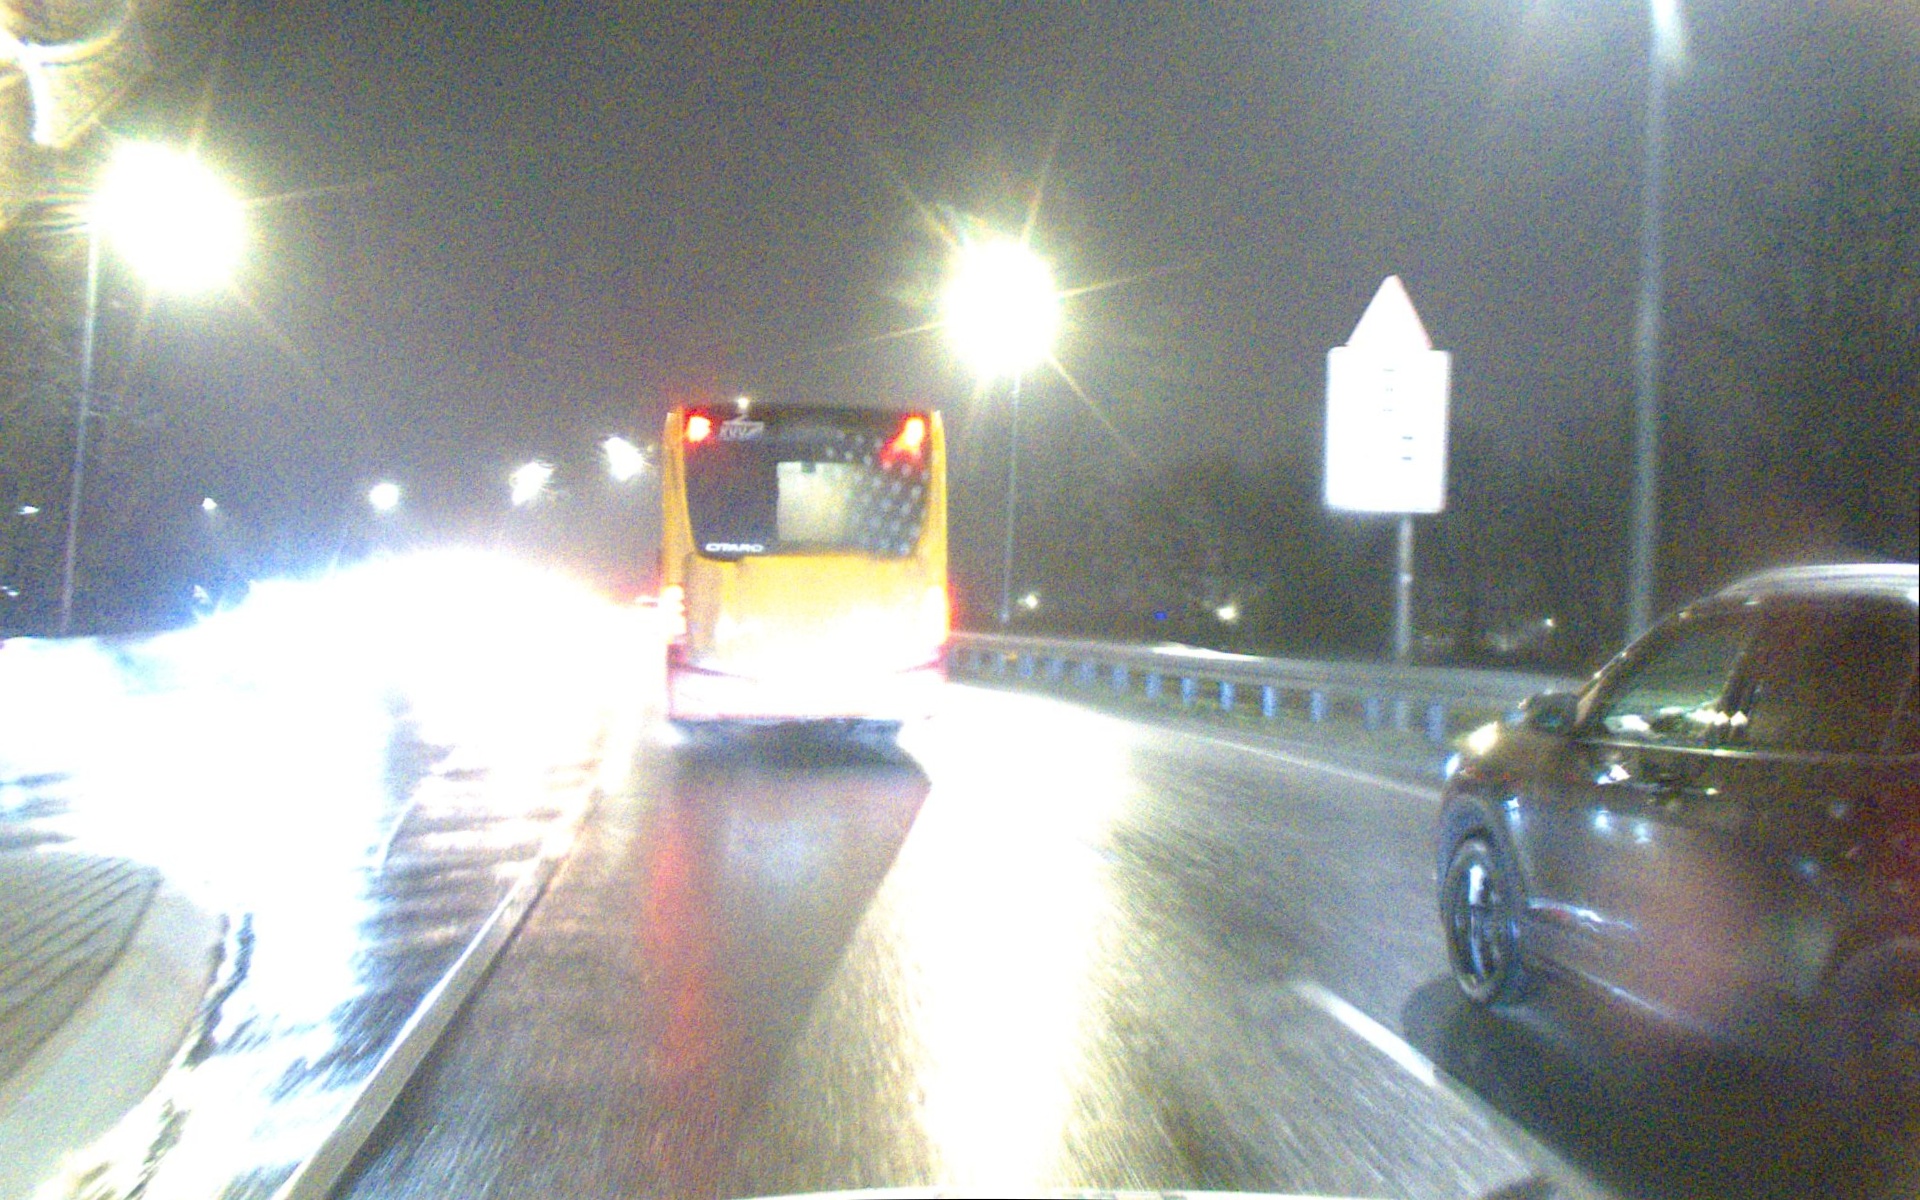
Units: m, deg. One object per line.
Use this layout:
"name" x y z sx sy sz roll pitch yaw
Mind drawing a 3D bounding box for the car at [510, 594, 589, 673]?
"car" -11.508 0.936 46.538 1.959 2.049 4.333 3 -2 -13

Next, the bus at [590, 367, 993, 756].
"bus" -1.882 -0.522 18.361 3.222 3.102 9.534 2 3 -6

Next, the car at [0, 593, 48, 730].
"car" -11.149 0.596 16.268 1.787 1.474 4.658 3 -1 -2

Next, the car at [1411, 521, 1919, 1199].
"car" 2.812 0.662 4.708 1.644 1.548 3.956 3 -2 -5

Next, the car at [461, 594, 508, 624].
"car" -28.061 0.503 97.538 1.795 1.646 3.963 3 -2 -28

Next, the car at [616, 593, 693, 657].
"car" -10.680 0.857 57.629 1.963 2.049 4.325 3 -2 -19

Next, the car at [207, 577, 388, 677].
"car" -11.716 0.439 29.565 1.845 1.635 4.653 0 0 -7
